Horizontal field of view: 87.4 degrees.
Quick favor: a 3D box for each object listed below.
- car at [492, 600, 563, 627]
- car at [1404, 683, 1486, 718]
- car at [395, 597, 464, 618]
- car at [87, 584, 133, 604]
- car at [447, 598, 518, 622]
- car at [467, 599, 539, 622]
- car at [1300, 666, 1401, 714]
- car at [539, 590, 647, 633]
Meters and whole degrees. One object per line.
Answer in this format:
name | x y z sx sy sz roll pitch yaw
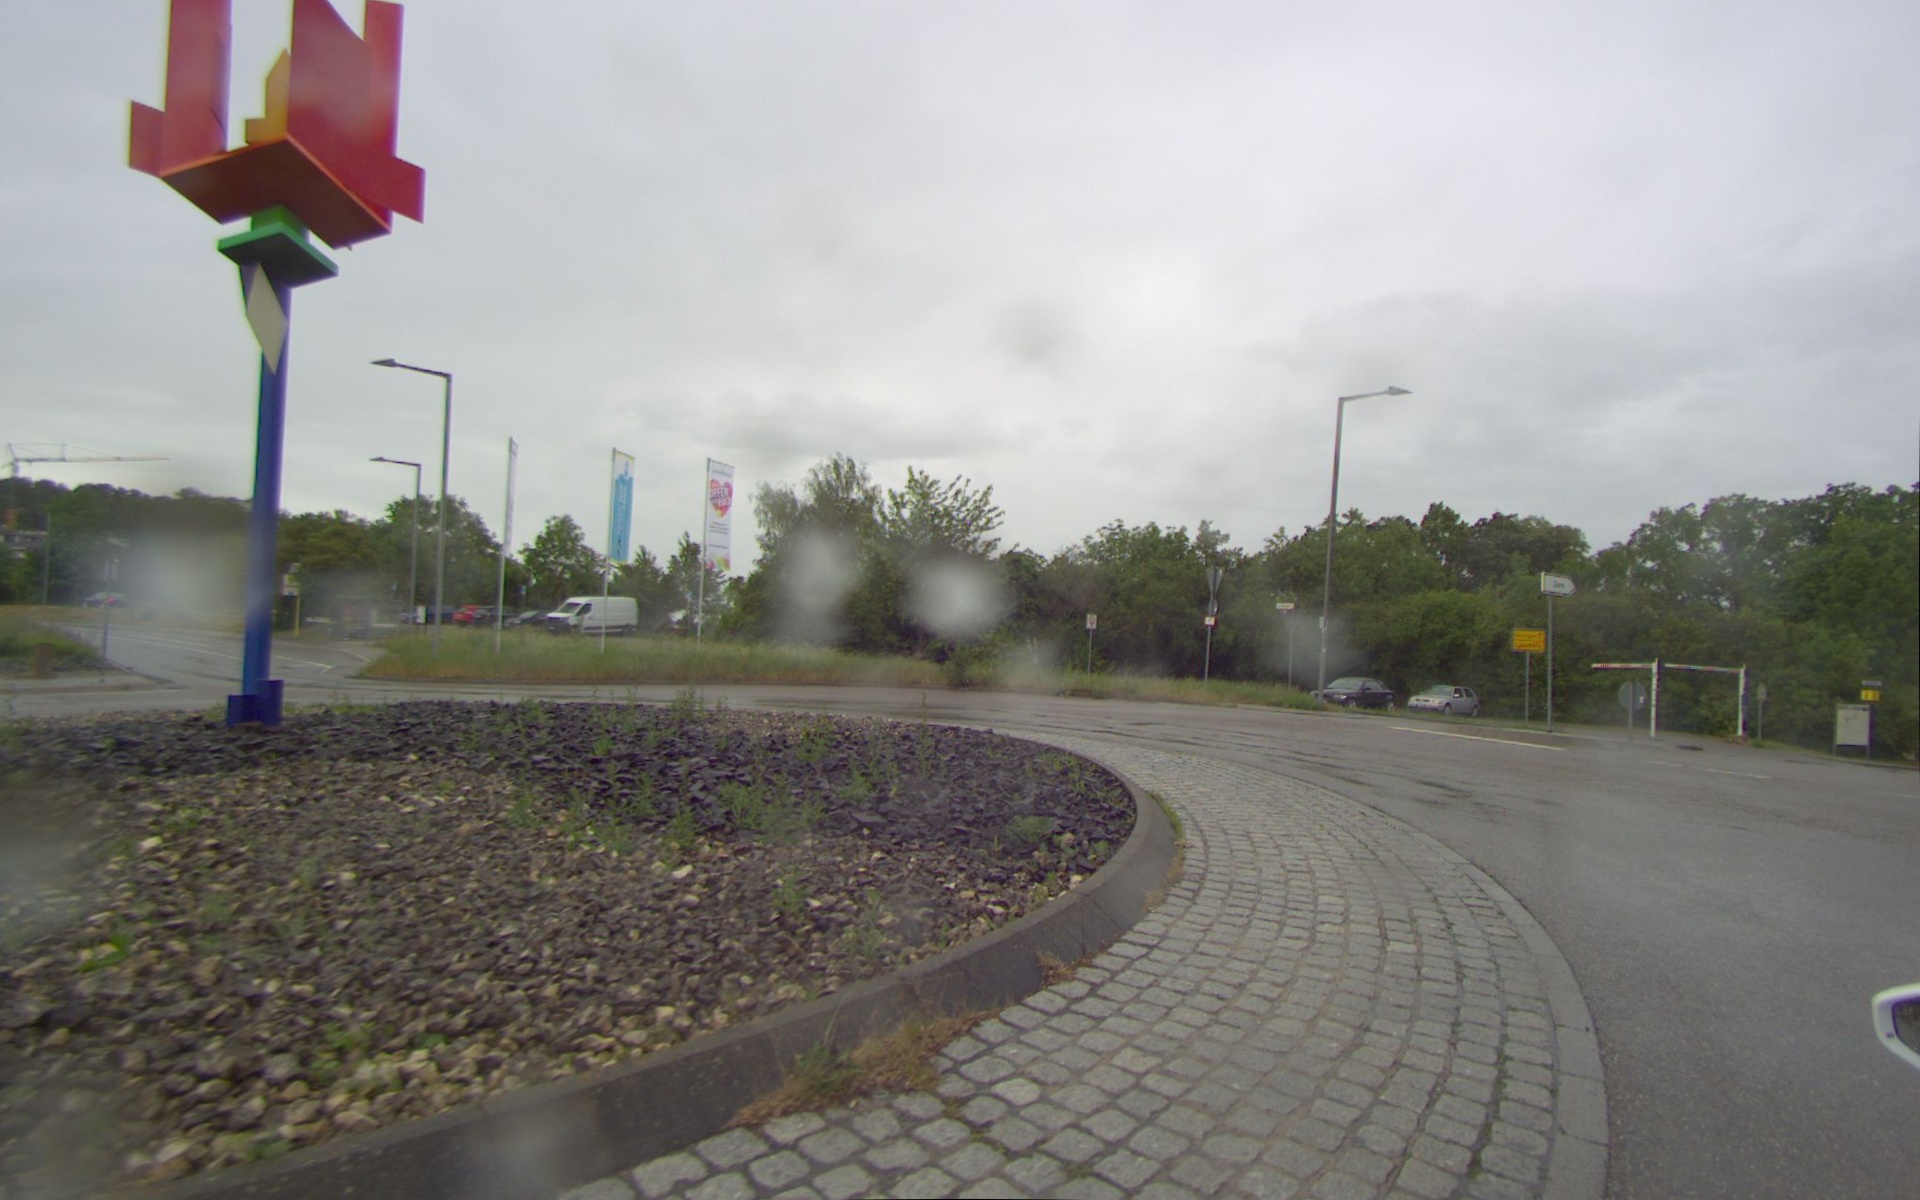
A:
car | -28.514 0.894 66.312 1.625 1.381 3.991 2 -5 34
car | 22.507 4.671 46.577 4.082 1.373 1.591 6 -3 -35
car | -37.572 0.506 71.209 1.868 1.382 3.987 2 1 35
car | -71.839 -0.523 84.891 4.463 1.589 1.692 1 1 32
car | -32.801 0.706 69.096 1.816 1.488 3.990 2 -1 33
car | -30.412 0.714 66.896 1.817 1.382 3.989 2 -2 34
car | 14.794 3.419 37.985 4.155 1.372 1.608 9 -5 -37
car | -23.177 0.759 63.781 2.100 2.429 6.566 4 1 29
